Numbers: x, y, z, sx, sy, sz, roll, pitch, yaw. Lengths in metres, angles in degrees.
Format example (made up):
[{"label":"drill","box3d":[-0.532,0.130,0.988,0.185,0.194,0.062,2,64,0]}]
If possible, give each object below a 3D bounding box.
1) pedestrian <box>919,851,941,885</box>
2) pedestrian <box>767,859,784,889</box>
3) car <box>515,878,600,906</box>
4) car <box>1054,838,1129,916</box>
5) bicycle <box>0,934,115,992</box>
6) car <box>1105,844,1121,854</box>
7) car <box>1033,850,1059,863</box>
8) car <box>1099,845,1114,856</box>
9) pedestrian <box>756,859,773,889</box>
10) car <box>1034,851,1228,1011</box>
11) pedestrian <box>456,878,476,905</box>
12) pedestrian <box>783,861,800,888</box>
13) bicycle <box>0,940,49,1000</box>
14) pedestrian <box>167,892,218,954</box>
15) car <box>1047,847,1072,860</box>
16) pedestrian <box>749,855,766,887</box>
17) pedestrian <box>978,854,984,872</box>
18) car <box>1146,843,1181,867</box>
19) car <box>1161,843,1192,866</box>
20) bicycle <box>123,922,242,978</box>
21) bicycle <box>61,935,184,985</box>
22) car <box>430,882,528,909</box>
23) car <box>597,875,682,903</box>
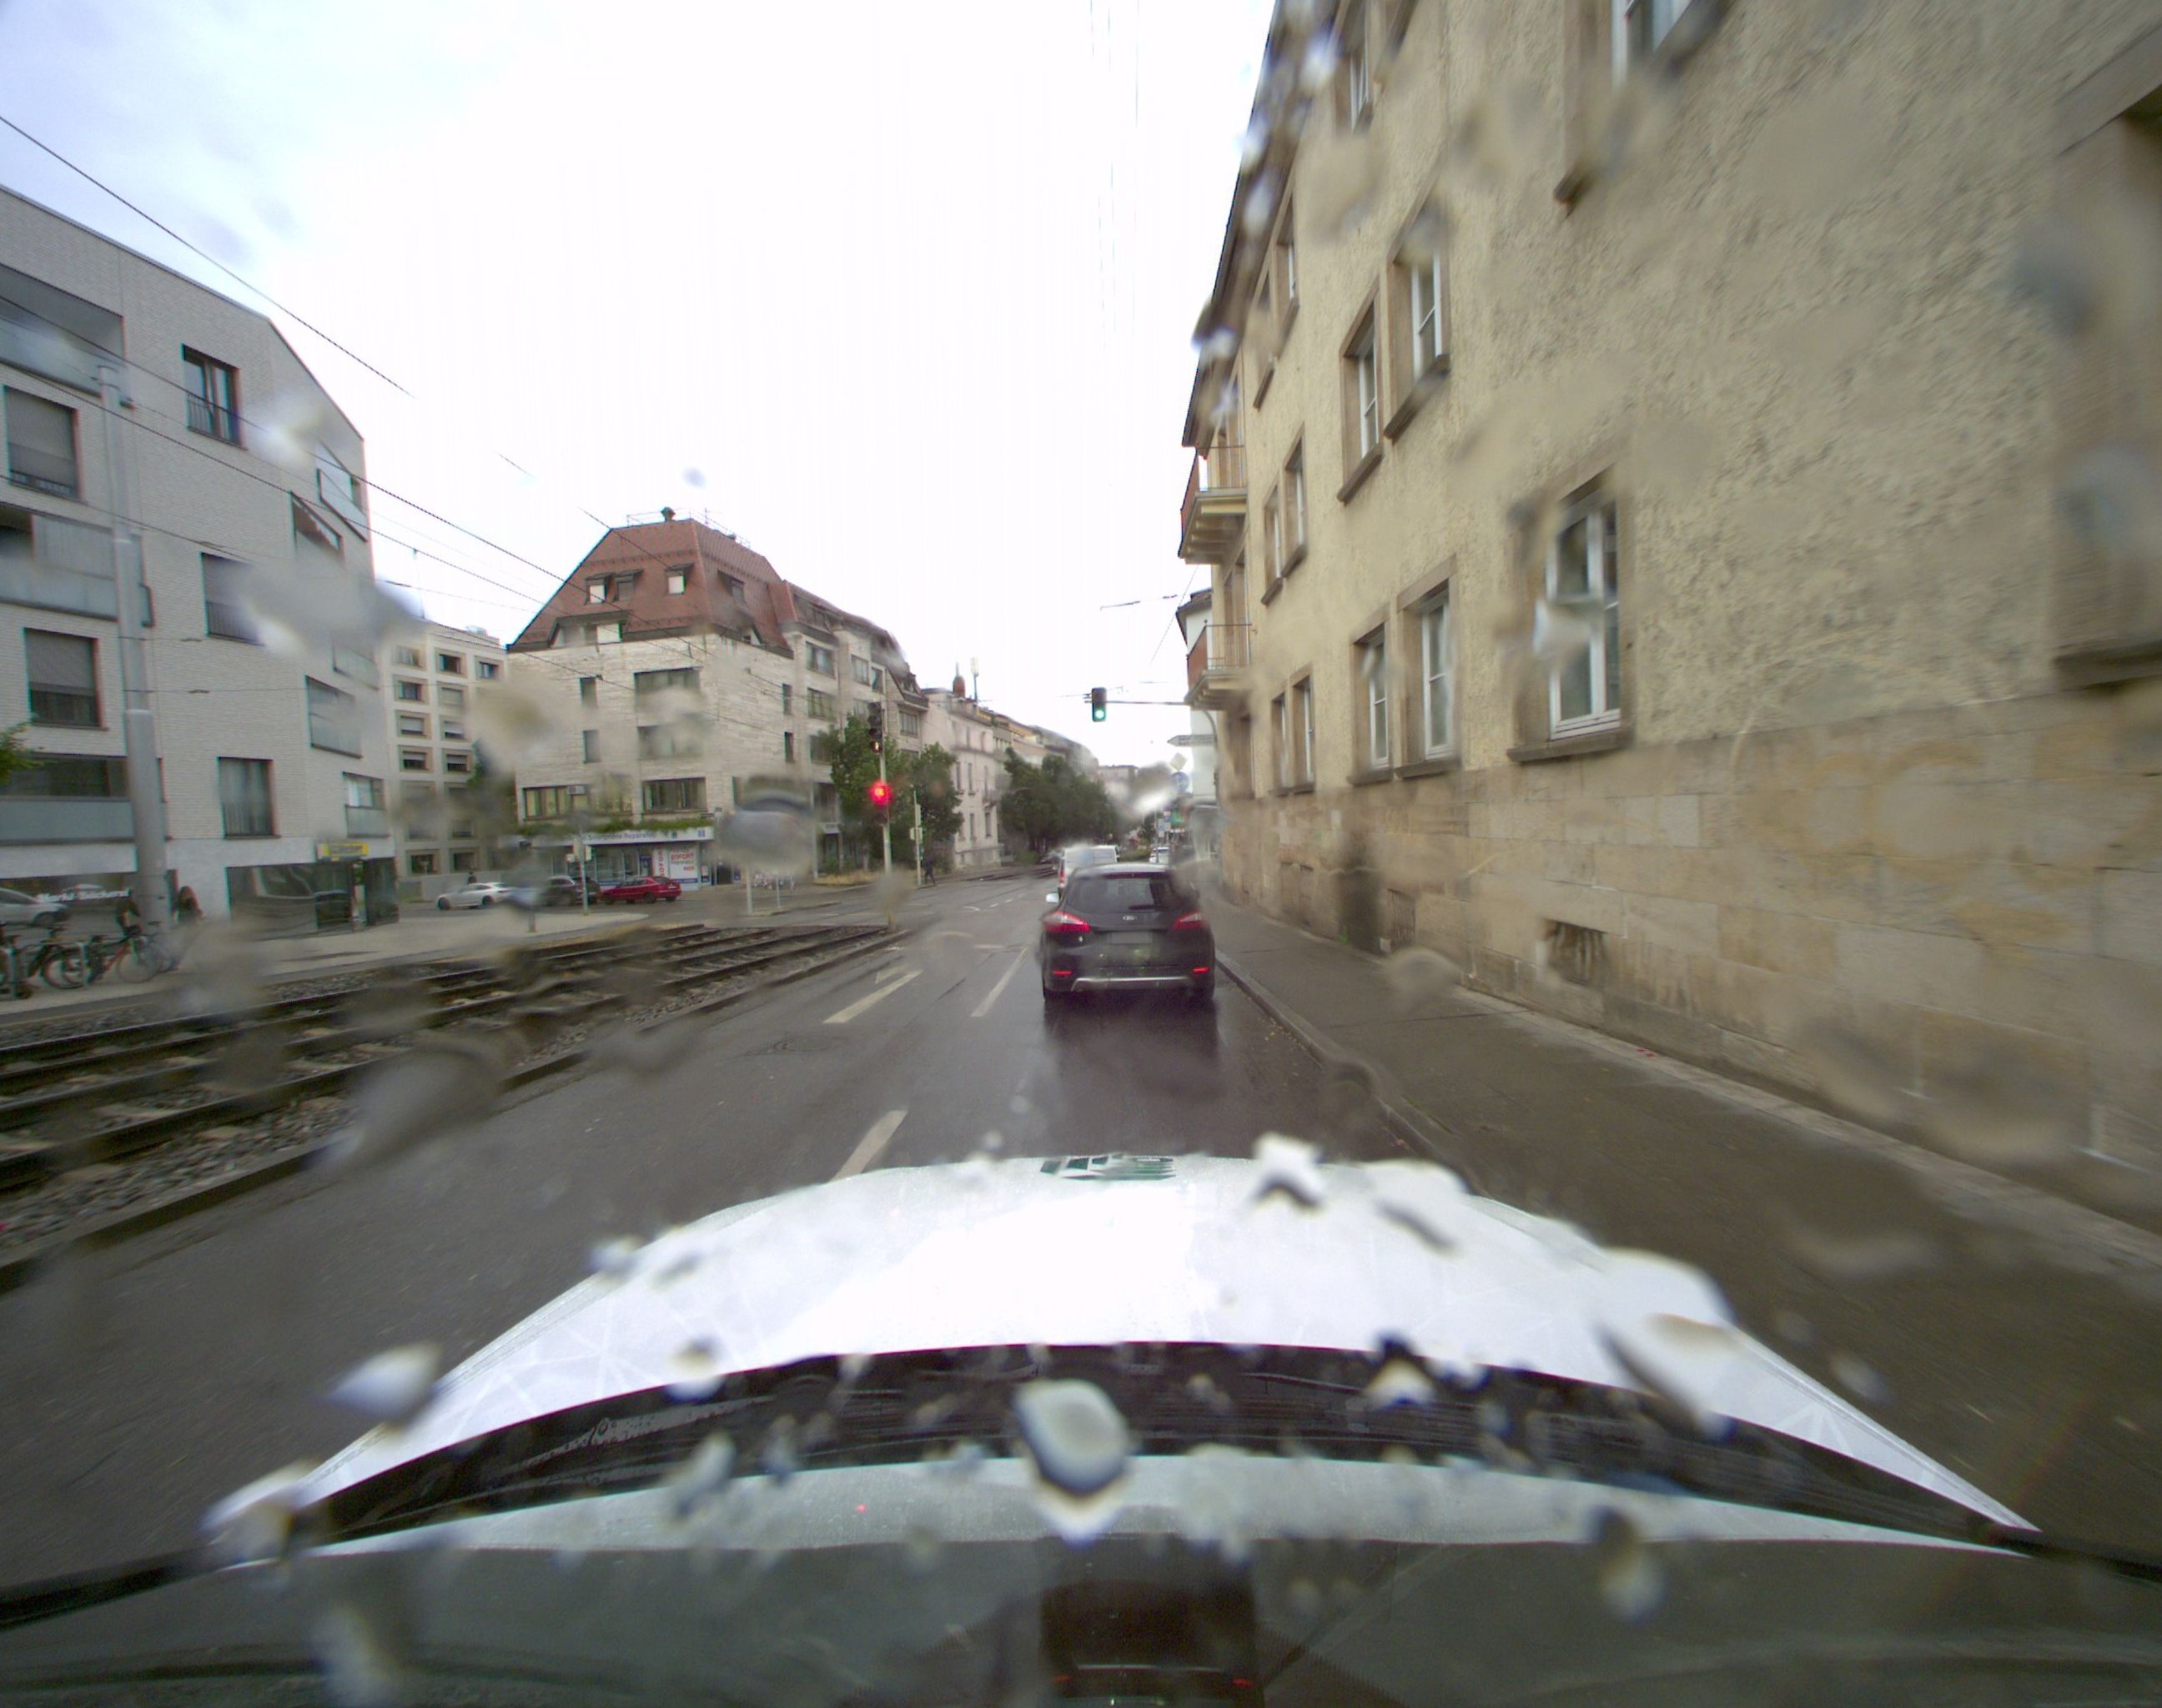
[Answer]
[{"label":"pedestrian","box3d":[-8.276,0.782,44.655,0.926,1.830,0.960,0,-1,4]},{"label":"pedestrian","box3d":[-17.712,1.143,47.281,0.643,1.724,0.686,0,-1,10]},{"label":"car","box3d":[-27.796,2.021,43.247,3.670,1.318,1.598,-2,-1,11]},{"label":"car","box3d":[0.321,0.642,24.251,1.981,2.060,4.645,-1,-1,1]},{"label":"bicycle","box3d":[-18.444,1.933,14.431,1.787,0.918,0.385,-1,-1,-16]},{"label":"car","box3d":[5.524,-0.830,138.104,1.843,1.637,4.952,-2,-1,12]},{"label":"car","box3d":[-3.967,0.344,92.819,1.682,1.377,4.736,-2,-1,12]},{"label":"car","box3d":[4.068,-0.539,128.993,1.656,1.558,4.059,-2,-1,12]},{"label":"pedestrian","box3d":[-18.393,1.160,47.353,0.643,1.749,0.686,0,-1,10]},{"label":"car","box3d":[0.532,0.755,9.769,1.836,1.507,4.001,-1,-1,2]},{"label":"pedestrian","box3d":[-36.560,2.213,48.415,0.677,1.549,0.651,0,-1,10]},{"label":"pedestrian","box3d":[-16.849,1.205,47.396,0.643,1.549,0.686,0,-1,10]},{"label":"bicycle","box3d":[-18.014,1.925,13.218,1.782,0.917,0.386,-2,-1,-8]},{"label":"pedestrian","box3d":[-23.571,1.811,21.619,0.650,1.569,0.770,-2,0,-26]},{"label":"car","box3d":[-2.581,-0.047,99.183,1.843,1.548,4.736,-2,-1,12]},{"label":"pedestrian","box3d":[-19.186,1.005,48.352,0.643,1.842,0.686,0,-1,10]},{"label":"pedestrian","box3d":[-9.339,0.841,76.359,0.466,1.652,0.582,0,-1,0]},{"label":"car","box3d":[5.626,0.052,54.953,1.789,1.455,4.602,-3,-1,12]},{"label":"car","box3d":[7.278,0.058,61.705,1.833,1.632,4.602,-2,-1,12]},{"label":"bicycle","box3d":[-18.051,1.917,16.378,1.779,0.980,0.440,-2,-1,-3]},{"label":"bicycle","box3d":[-17.820,1.961,15.148,1.778,0.876,0.387,0,-1,-1]},{"label":"car","box3d":[-32.573,2.241,44.089,4.458,1.318,1.598,-2,-1,11]},{"label":"car","box3d":[-22.941,1.824,42.375,3.669,1.318,1.599,-2,-1,12]}]
